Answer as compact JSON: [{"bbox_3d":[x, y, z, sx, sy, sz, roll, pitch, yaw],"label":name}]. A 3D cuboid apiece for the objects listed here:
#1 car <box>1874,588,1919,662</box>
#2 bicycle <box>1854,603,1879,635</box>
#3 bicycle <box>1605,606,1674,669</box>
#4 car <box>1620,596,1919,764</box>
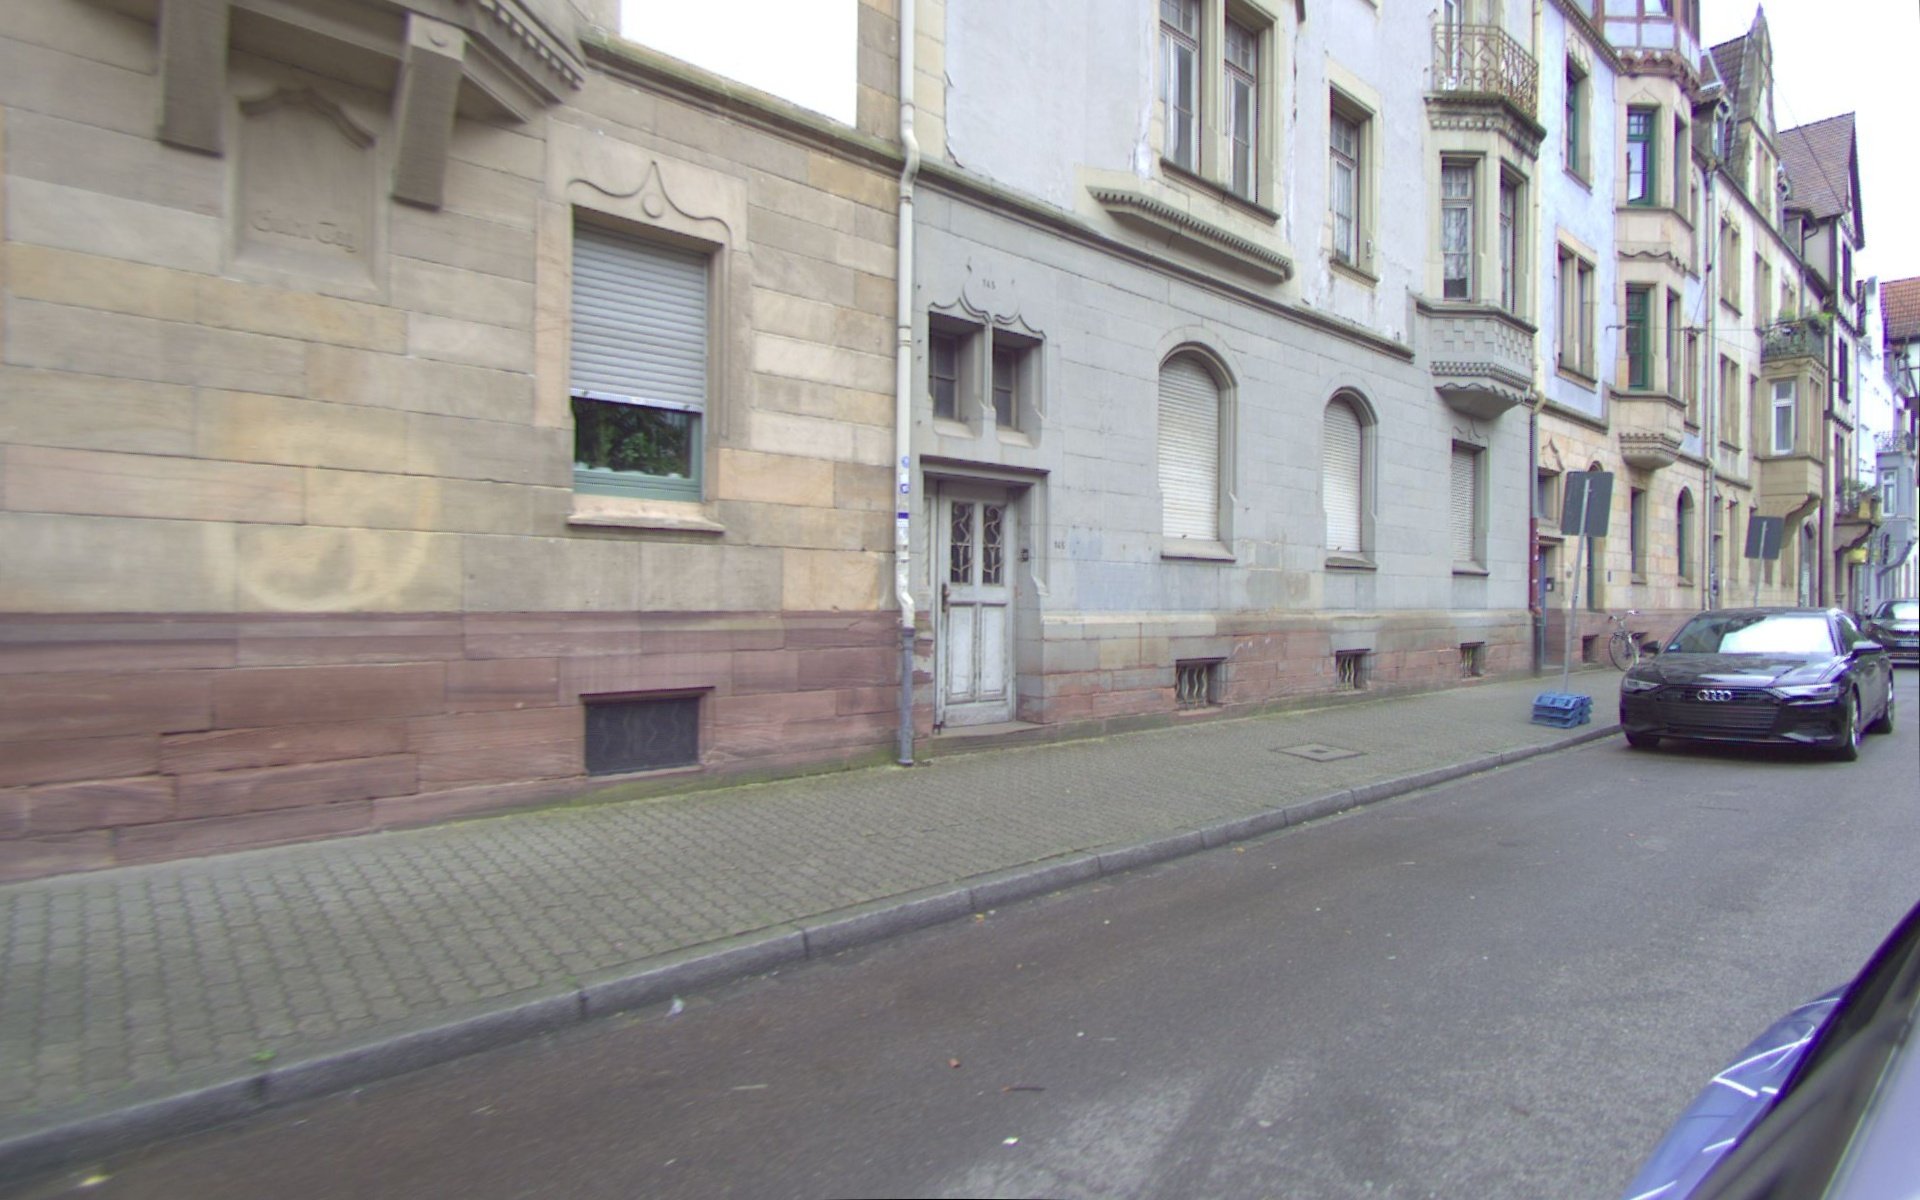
[{"bbox_3d":[22.954,0.557,23.804,4.615,1.643,1.761,0,0,-43],"label":"car"},{"bbox_3d":[33.056,0.677,36.880,1.560,1.111,0.422,0,4,-42],"label":"bicycle"},{"bbox_3d":[13.015,0.698,19.355,1.883,1.141,0.611,0,-3,-42],"label":"bicycle"},{"bbox_3d":[9.094,0.701,11.147,5.106,1.456,1.803,0,0,-42],"label":"car"}]
